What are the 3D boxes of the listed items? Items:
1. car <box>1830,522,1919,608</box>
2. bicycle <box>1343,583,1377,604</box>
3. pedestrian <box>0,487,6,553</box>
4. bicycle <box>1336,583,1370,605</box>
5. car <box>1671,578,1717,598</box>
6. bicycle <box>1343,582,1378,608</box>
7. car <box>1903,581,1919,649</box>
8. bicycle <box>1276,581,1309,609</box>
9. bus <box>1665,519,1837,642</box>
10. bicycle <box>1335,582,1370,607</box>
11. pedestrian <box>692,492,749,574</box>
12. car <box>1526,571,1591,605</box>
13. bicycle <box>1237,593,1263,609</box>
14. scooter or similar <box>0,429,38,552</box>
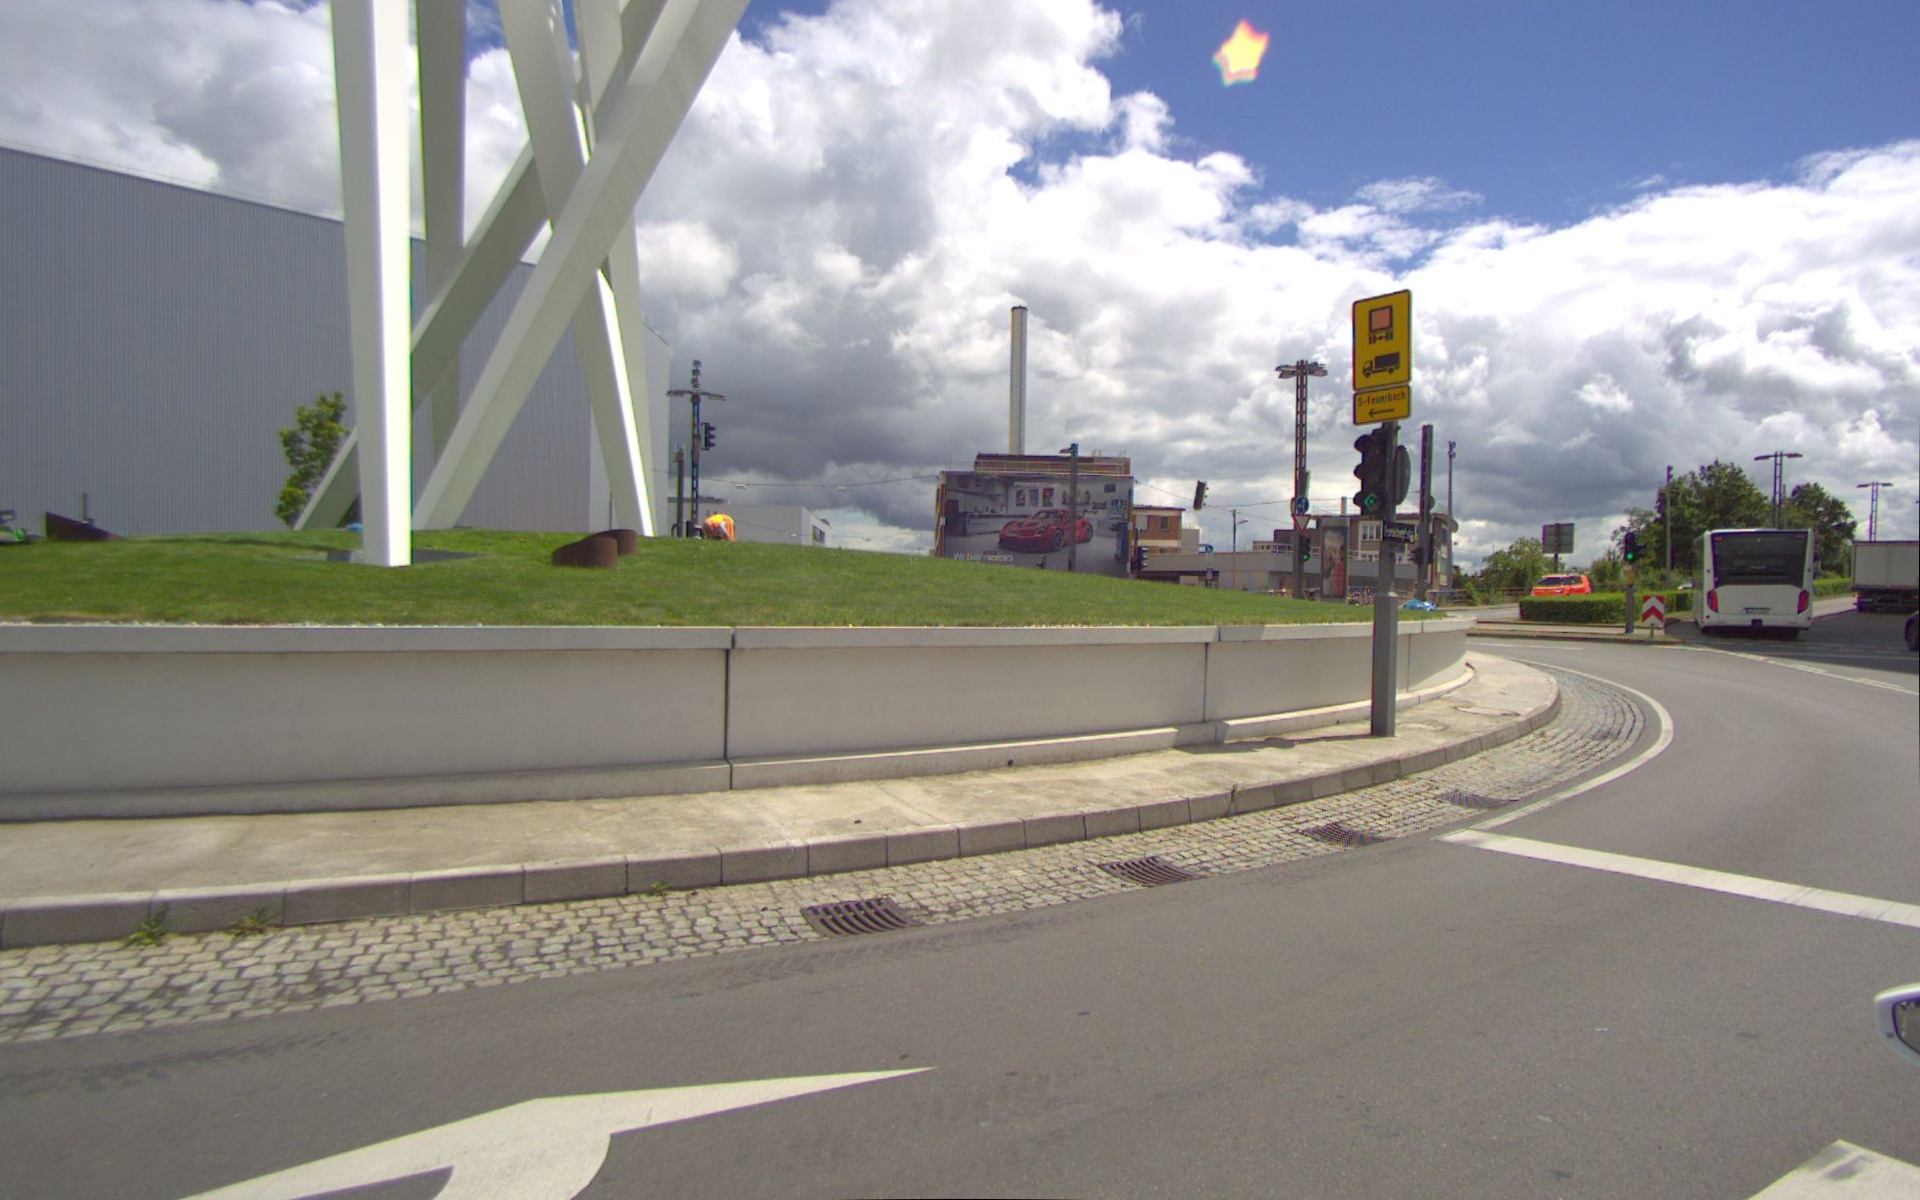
[{"bbox_3d":[43.859,-1.528,47.364,9.277,3.551,3.303,2,1,-44],"label":"car"},{"bbox_3d":[23.602,-0.385,59.356,0.665,1.198,1.721,0,3,-41],"label":"bicycle"},{"bbox_3d":[-9.879,-1.332,9.413,1.264,1.841,0.984,0,4,33],"label":"pedestrian"},{"bbox_3d":[22.994,-0.356,58.811,0.665,1.198,1.720,-6,7,-43],"label":"bicycle"},{"bbox_3d":[55.481,-0.929,75.872,4.634,1.417,1.740,-2,4,-40],"label":"car"},{"bbox_3d":[23.358,-0.290,58.619,0.665,1.399,1.722,2,1,-41],"label":"bicycle"},{"bbox_3d":[24.327,0.455,23.611,1.963,1.659,3.995,2,3,26],"label":"car"},{"bbox_3d":[18.038,-0.283,54.525,0.489,1.401,1.591,2,1,-41],"label":"bicycle"},{"bbox_3d":[26.209,-0.845,33.943,3.028,3.408,12.190,3,4,32],"label":"bus"},{"bbox_3d":[22.656,-0.317,57.967,0.665,1.399,1.722,2,1,-41],"label":"bicycle"},{"bbox_3d":[-4.649,-1.279,19.472,0.950,1.424,0.853,2,-6,-19],"label":"pedestrian"},{"bbox_3d":[36.406,-0.727,61.055,4.797,2.010,1.977,-1,1,-40],"label":"car"},{"bbox_3d":[16.936,0.058,58.584,1.592,0.878,0.489,3,-1,-30],"label":"bicycle"},{"bbox_3d":[-8.808,-0.956,8.849,1.380,1.040,0.548,3,8,31],"label":"scooter or similar"}]
